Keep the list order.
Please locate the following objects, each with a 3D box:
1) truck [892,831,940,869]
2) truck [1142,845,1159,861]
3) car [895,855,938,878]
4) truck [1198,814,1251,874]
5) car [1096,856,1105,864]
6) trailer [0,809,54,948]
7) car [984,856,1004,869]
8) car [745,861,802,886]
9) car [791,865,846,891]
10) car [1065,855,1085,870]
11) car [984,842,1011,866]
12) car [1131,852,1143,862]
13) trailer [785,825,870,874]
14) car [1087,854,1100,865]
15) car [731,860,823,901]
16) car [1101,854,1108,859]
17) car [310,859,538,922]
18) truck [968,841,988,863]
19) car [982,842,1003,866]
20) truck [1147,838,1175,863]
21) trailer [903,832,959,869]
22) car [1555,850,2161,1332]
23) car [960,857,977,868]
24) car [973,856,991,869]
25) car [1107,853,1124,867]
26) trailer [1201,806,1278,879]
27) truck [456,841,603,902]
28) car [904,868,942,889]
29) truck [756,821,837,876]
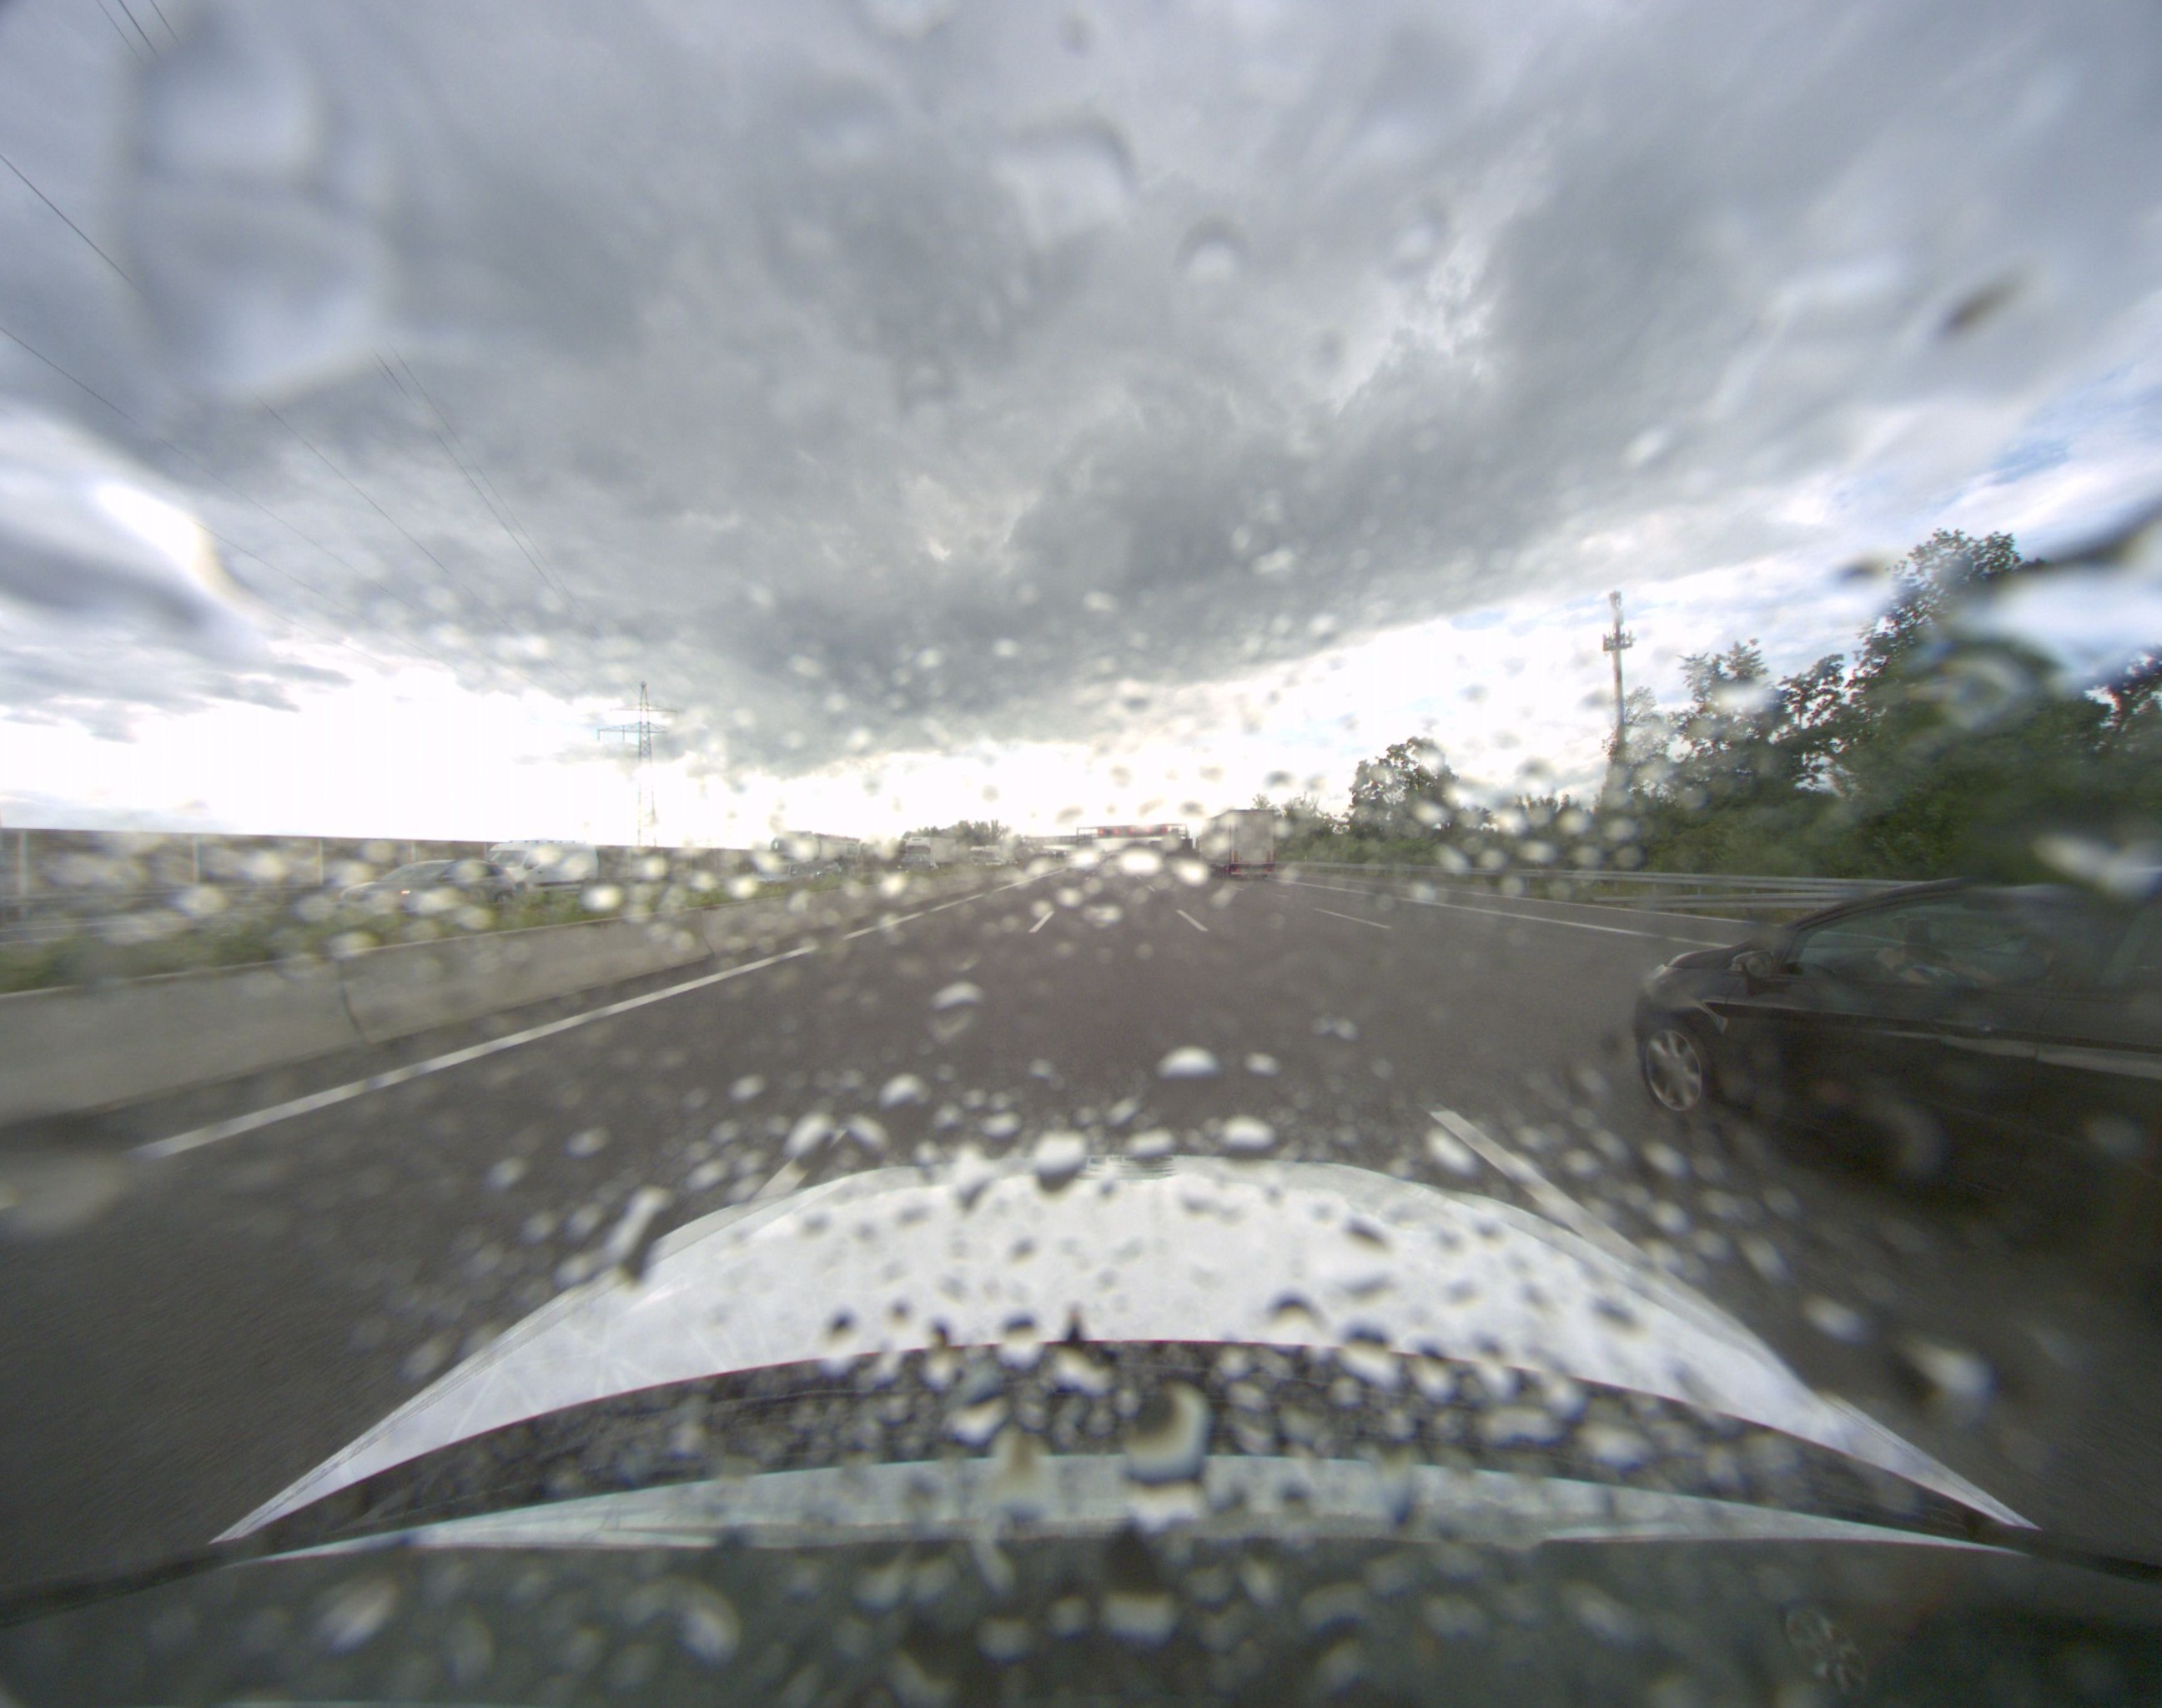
[{"bbox_3d":[-18.312,-0.381,90.843,3.645,4.048,6.529,0,0,3],"label":"truck"},{"bbox_3d":[18.983,-0.310,224.173,4.226,4.176,11.997,0,0,3],"label":"truck"},{"bbox_3d":[-14.797,1.110,73.711,2.270,1.968,6.092,0,0,4],"label":"car"},{"bbox_3d":[10.180,-0.654,58.400,2.949,4.020,6.594,-1,0,3],"label":"truck"},{"bbox_3d":[3.683,1.206,154.462,1.766,1.441,4.055,-1,0,1],"label":"car"},{"bbox_3d":[-24.258,0.519,15.849,2.240,2.962,4.901,0,0,1],"label":"trailer"},{"bbox_3d":[-10.459,1.020,98.373,1.781,1.454,4.565,0,0,1],"label":"car"},{"bbox_3d":[-19.482,1.218,51.833,1.781,1.469,4.565,0,0,1],"label":"car"},{"bbox_3d":[-15.857,1.428,49.427,1.781,1.454,4.565,0,0,1],"label":"car"},{"bbox_3d":[-0.577,0.837,81.421,1.766,1.441,3.875,-1,0,1],"label":"car"},{"bbox_3d":[-15.306,0.011,150.912,2.971,4.124,14.401,0,0,2],"label":"car"},{"bbox_3d":[9.140,0.466,132.400,1.828,1.441,4.058,-1,0,3],"label":"car"},{"bbox_3d":[-23.321,-0.379,75.995,3.646,4.237,12.472,0,0,2],"label":"trailer"},{"bbox_3d":[1.735,0.800,114.710,1.766,1.441,4.056,-1,0,1],"label":"car"},{"bbox_3d":[-12.383,1.016,33.552,1.987,1.526,4.740,-1,0,0],"label":"car"},{"bbox_3d":[6.474,0.601,222.380,1.765,1.441,4.058,-1,0,3],"label":"car"},{"bbox_3d":[-17.136,0.878,21.668,1.958,1.454,4.944,0,0,1],"label":"car"},{"bbox_3d":[-19.627,-0.404,155.491,2.889,4.116,6.625,0,0,2],"label":"truck"},{"bbox_3d":[-15.582,-0.040,143.817,2.971,4.150,6.045,0,0,2],"label":"car"},{"bbox_3d":[14.147,-0.591,144.899,4.164,4.288,12.618,0,0,2],"label":"truck"},{"bbox_3d":[-17.930,-0.367,98.343,3.645,4.108,13.408,0,0,3],"label":"trailer"},{"bbox_3d":[3.965,0.711,4.030,1.442,1.441,3.164,-1,0,1],"label":"car"},{"bbox_3d":[-16.788,1.281,121.722,1.781,1.591,4.387,0,0,2],"label":"car"},{"bbox_3d":[-13.052,1.109,107.549,1.781,1.562,4.565,0,0,1],"label":"car"},{"bbox_3d":[3.770,0.636,89.052,1.766,1.441,4.056,-1,0,1],"label":"car"},{"bbox_3d":[9.811,-0.649,52.128,2.949,4.020,14.130,-1,0,3],"label":"trailer"},{"bbox_3d":[-24.104,0.705,36.007,2.094,2.451,6.266,0,0,1],"label":"truck"},{"bbox_3d":[-11.454,1.742,59.197,1.781,1.454,4.565,0,0,1],"label":"car"},{"bbox_3d":[-23.577,-0.427,68.081,3.646,4.319,8.241,0,0,2],"label":"truck"}]
